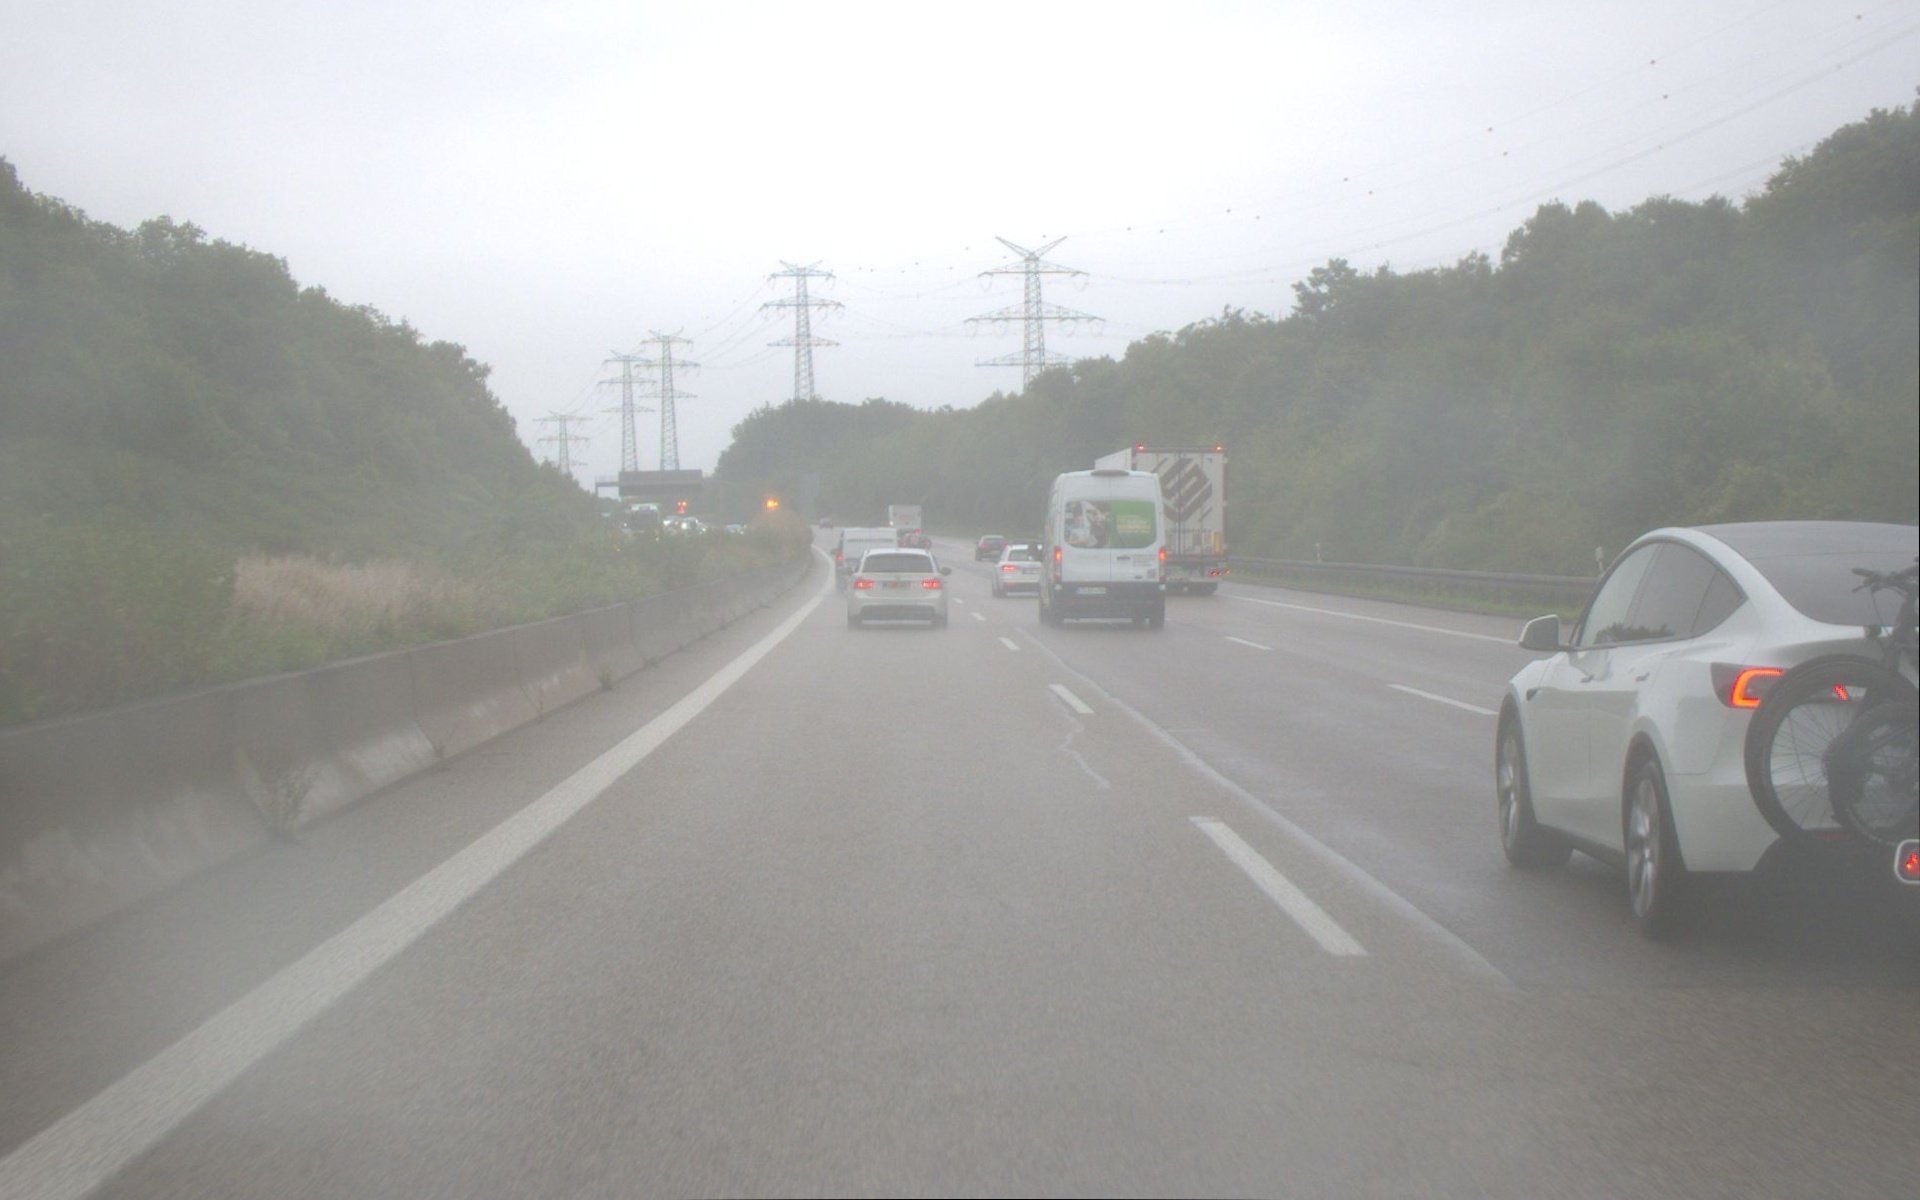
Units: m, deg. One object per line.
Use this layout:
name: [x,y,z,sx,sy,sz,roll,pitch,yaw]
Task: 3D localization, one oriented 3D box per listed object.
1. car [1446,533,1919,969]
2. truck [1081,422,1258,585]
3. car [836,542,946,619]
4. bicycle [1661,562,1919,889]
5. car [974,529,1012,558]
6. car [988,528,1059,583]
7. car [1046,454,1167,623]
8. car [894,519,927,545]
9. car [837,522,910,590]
car: [3.416,0.498,14.838,1.860,1.562,4.964,0,1,-1]
truck: [5.832,-2.694,98.408,3.603,4.317,13.201,-1,1,-3]
car: [-1.197,-0.374,61.169,1.866,1.284,4.000,-1,1,0]
bicycle: [3.392,0.416,11.892,1.753,1.087,0.914,0,0,1]
car: [1.832,-3.126,190.862,1.993,1.481,4.000,-3,1,0]
car: [1.694,-1.196,91.885,1.857,1.418,4.000,0,1,1]
car: [2.569,-1.086,61.081,1.993,2.854,4.000,-1,1,1]
car: [-3.098,-4.273,216.792,1.993,1.568,4.000,-2,0,0]
car: [-2.337,-1.205,93.820,1.846,1.766,4.000,-1,1,0]
